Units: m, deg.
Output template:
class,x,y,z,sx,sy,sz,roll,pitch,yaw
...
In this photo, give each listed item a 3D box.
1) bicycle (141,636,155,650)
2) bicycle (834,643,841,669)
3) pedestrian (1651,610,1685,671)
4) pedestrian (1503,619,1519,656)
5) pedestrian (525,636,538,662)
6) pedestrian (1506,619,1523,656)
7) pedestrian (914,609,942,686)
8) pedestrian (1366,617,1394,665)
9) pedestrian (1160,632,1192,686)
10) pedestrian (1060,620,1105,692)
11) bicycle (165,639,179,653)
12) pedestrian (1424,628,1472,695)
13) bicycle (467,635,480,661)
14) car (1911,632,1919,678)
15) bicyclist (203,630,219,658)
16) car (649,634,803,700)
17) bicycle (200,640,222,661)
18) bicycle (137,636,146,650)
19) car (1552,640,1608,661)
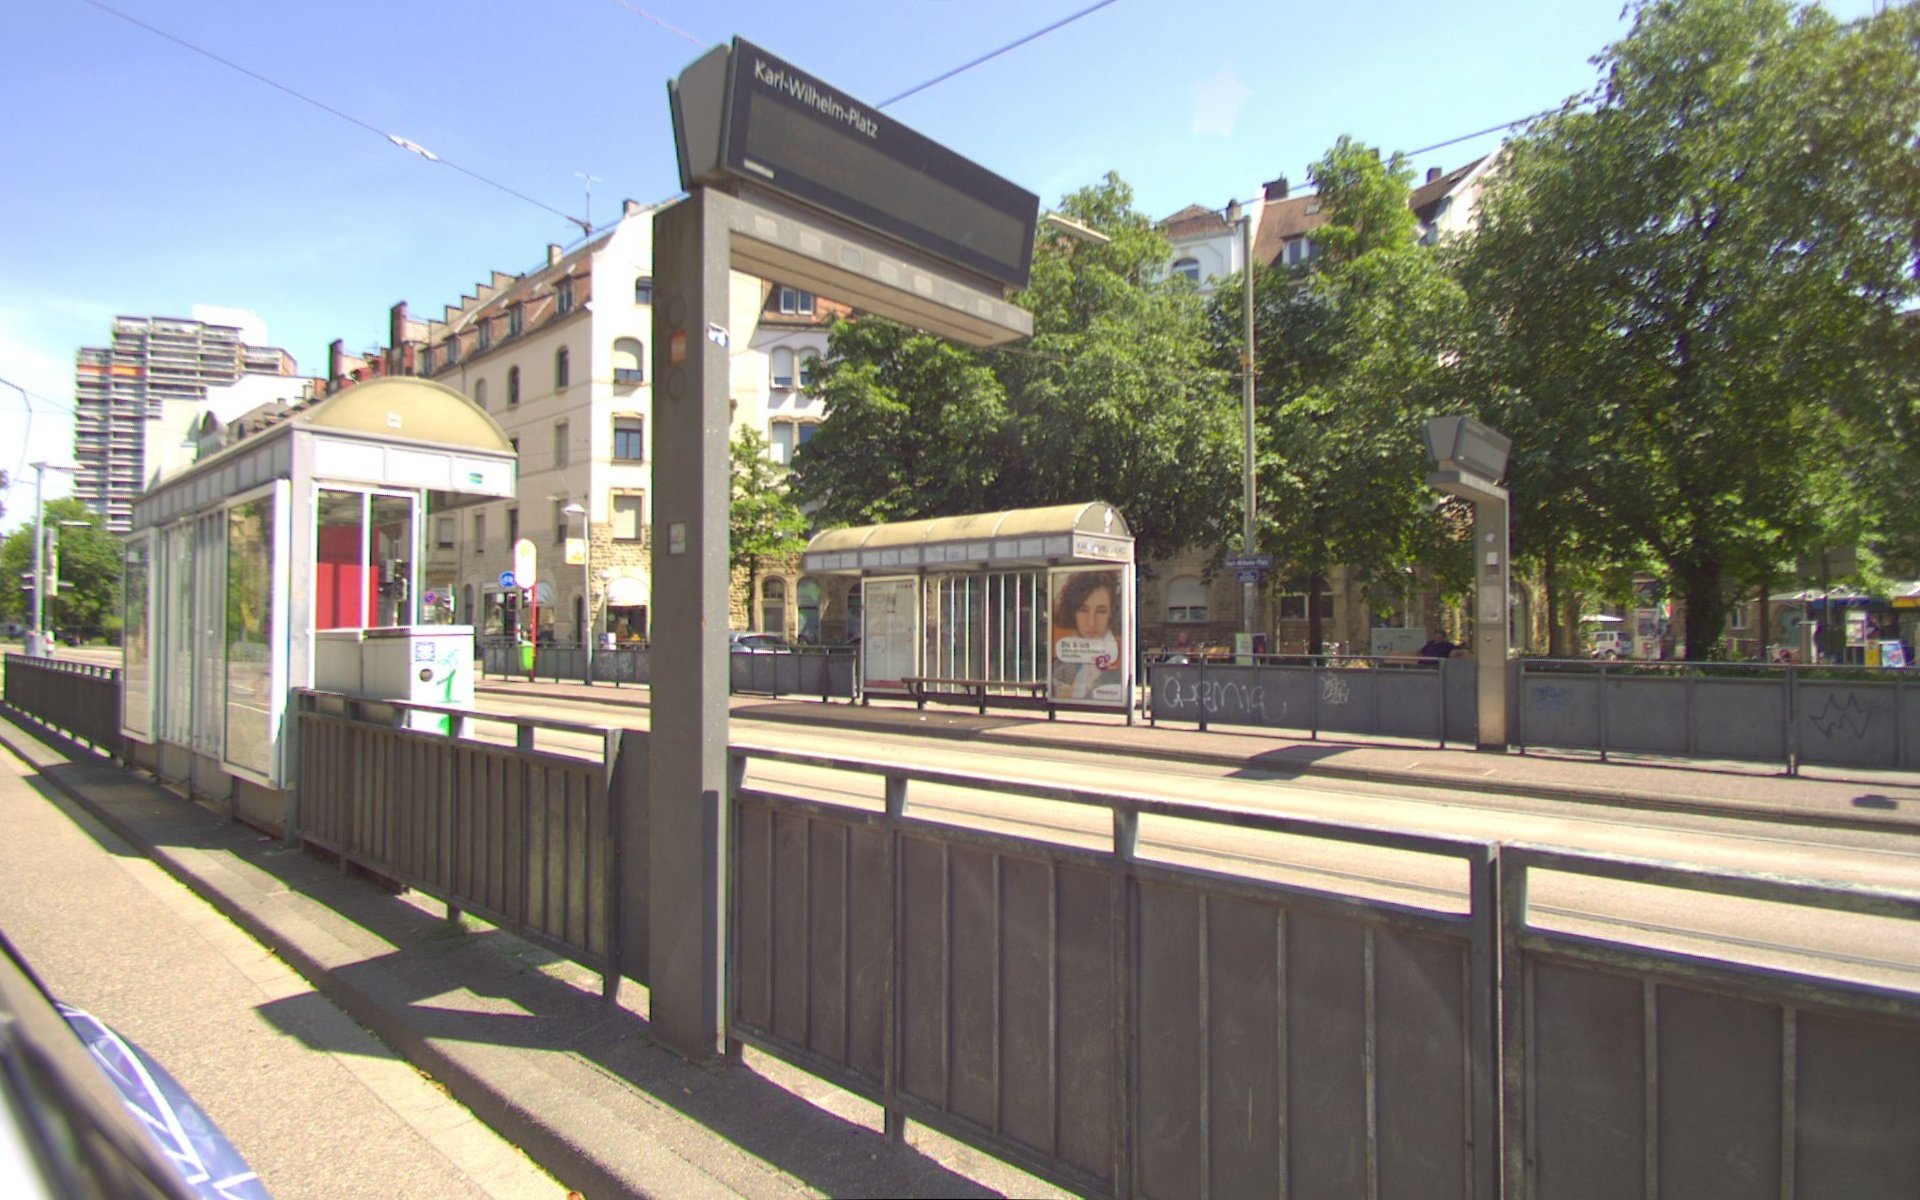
class,x,y,z,sx,sy,sz,roll,pitch,yaw
bicycle,-62.808,3.327,78.286,2.046,1.105,0.487,-2,-2,42
bicycle,-5.051,2.294,41.755,0.286,0.981,1.675,0,-1,-6
pedestrian,23.975,1.382,34.288,0.801,2.029,0.716,2,-3,-40
pedestrian,24.430,1.651,44.847,0.526,1.635,0.491,-1,-2,41
pedestrian,-19.338,2.193,45.676,0.405,1.157,0.401,-1,-1,38
pedestrian,24.796,1.657,45.275,0.560,1.635,0.507,-1,-2,41
pedestrian,-0.794,1.167,25.102,0.504,1.893,0.494,1,-2,-44
pedestrian,15.648,1.533,37.677,0.606,1.764,0.719,0,-1,-25
pedestrian,5.163,1.411,24.208,0.637,1.265,0.549,0,-1,2
pedestrian,2.803,1.270,23.175,0.772,1.618,0.673,-1,-1,38
bicycle,-56.039,3.252,71.966,1.953,0.955,0.457,-2,-2,42
pedestrian,9.613,1.209,19.962,0.637,1.297,0.618,0,-1,2
bicycle,-23.872,2.355,49.633,0.447,1.234,2.086,0,-1,-29
car,32.423,1.754,32.393,3.676,1.453,1.546,0,-1,-24
bicyclist,-42.812,2.517,57.834,0.585,1.586,0.602,-1,-2,42
car,-5.404,1.470,23.162,3.716,1.349,1.525,-1,-1,40
bicycle,-42.804,2.869,57.834,1.977,1.166,0.621,-2,-2,42
bicycle,-64.423,3.381,79.641,1.899,1.054,0.286,-1,-2,42
car,26.786,2.172,43.768,1.899,0.872,0.856,-1,-1,17
